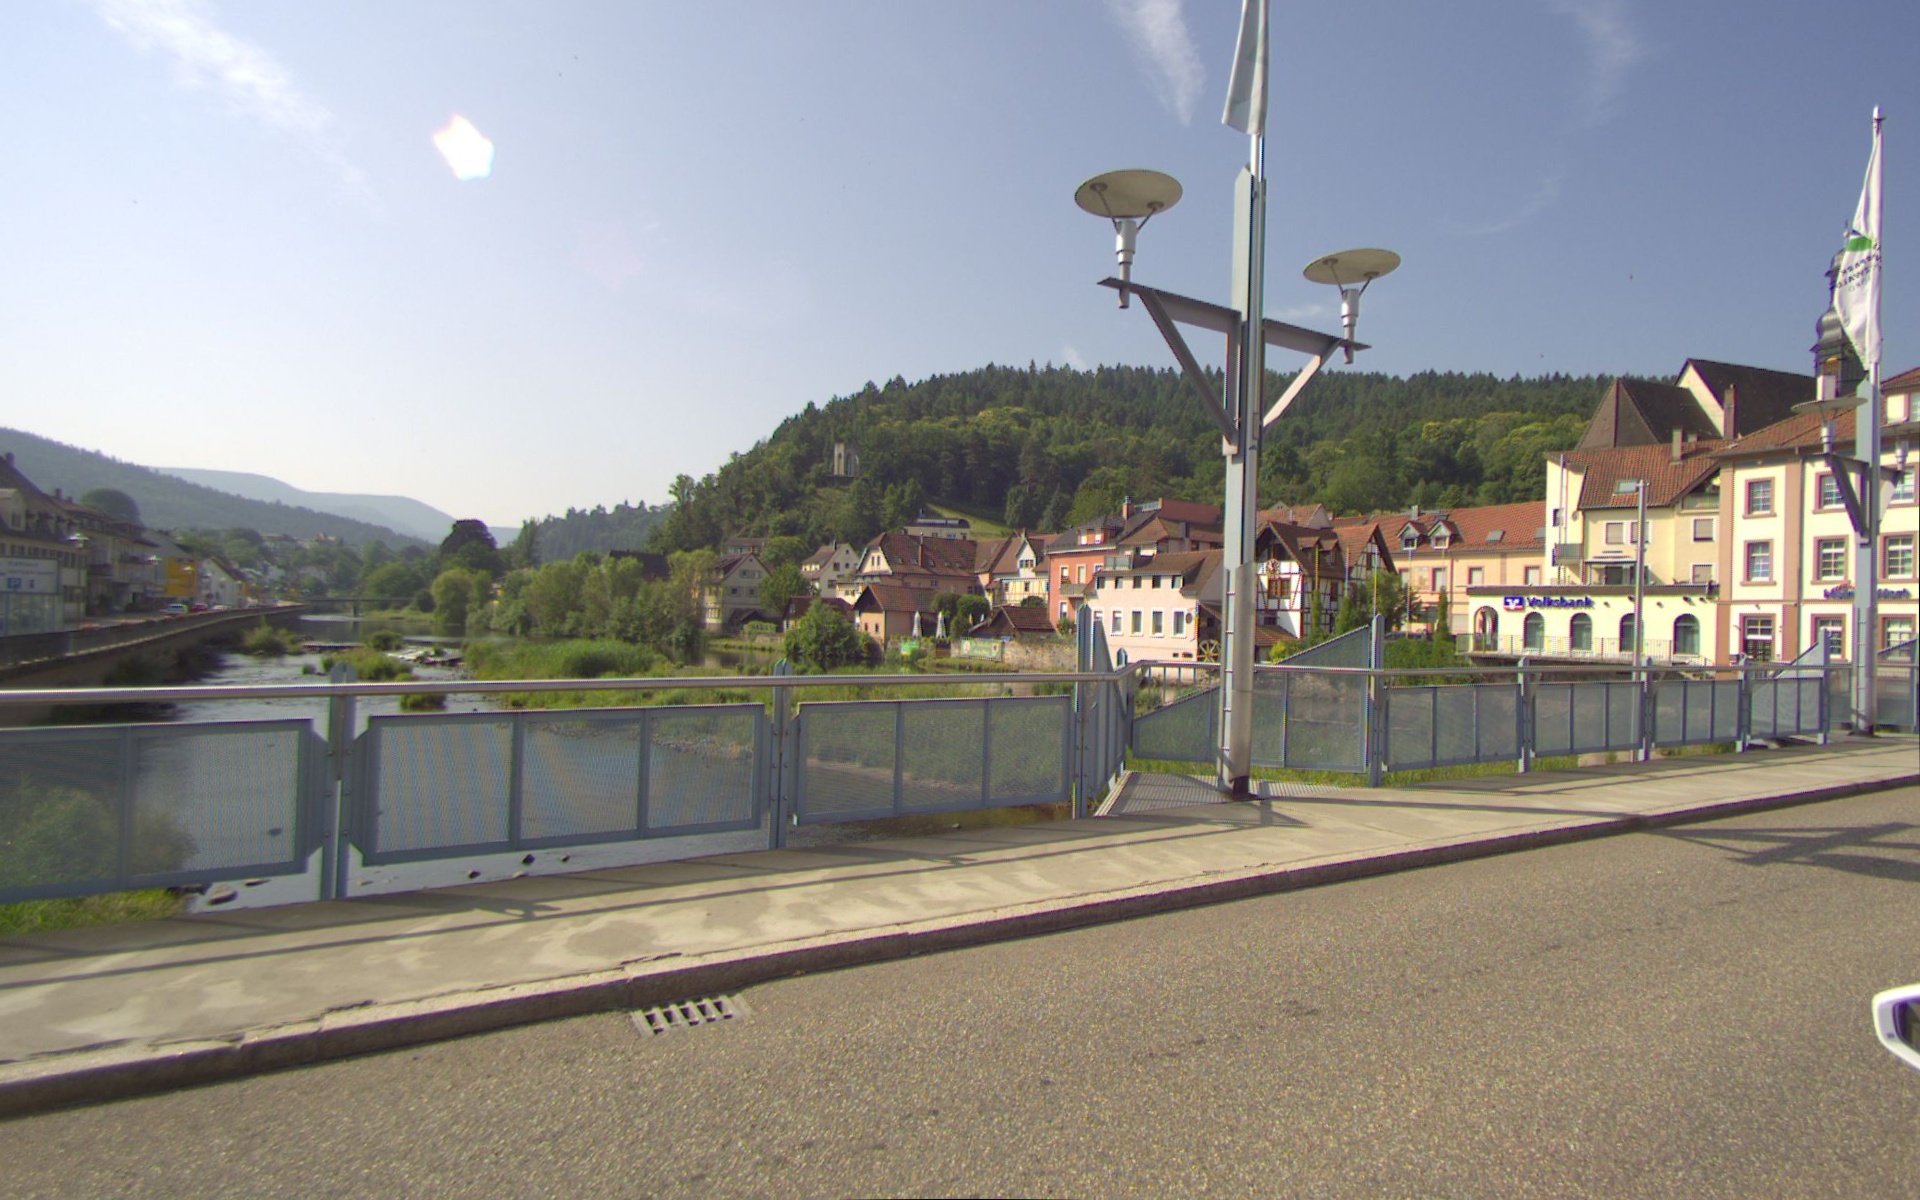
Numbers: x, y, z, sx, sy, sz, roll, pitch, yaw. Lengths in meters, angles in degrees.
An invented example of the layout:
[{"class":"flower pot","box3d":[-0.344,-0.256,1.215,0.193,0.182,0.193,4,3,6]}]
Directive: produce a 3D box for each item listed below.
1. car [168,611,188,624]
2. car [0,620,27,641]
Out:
[{"class":"car","box3d":[-92.138,2.056,118.384,1.502,1.467,3.248,1,-1,-32]},{"class":"car","box3d":[-67.865,2.165,71.353,1.734,1.467,3.247,1,-1,-32]}]
